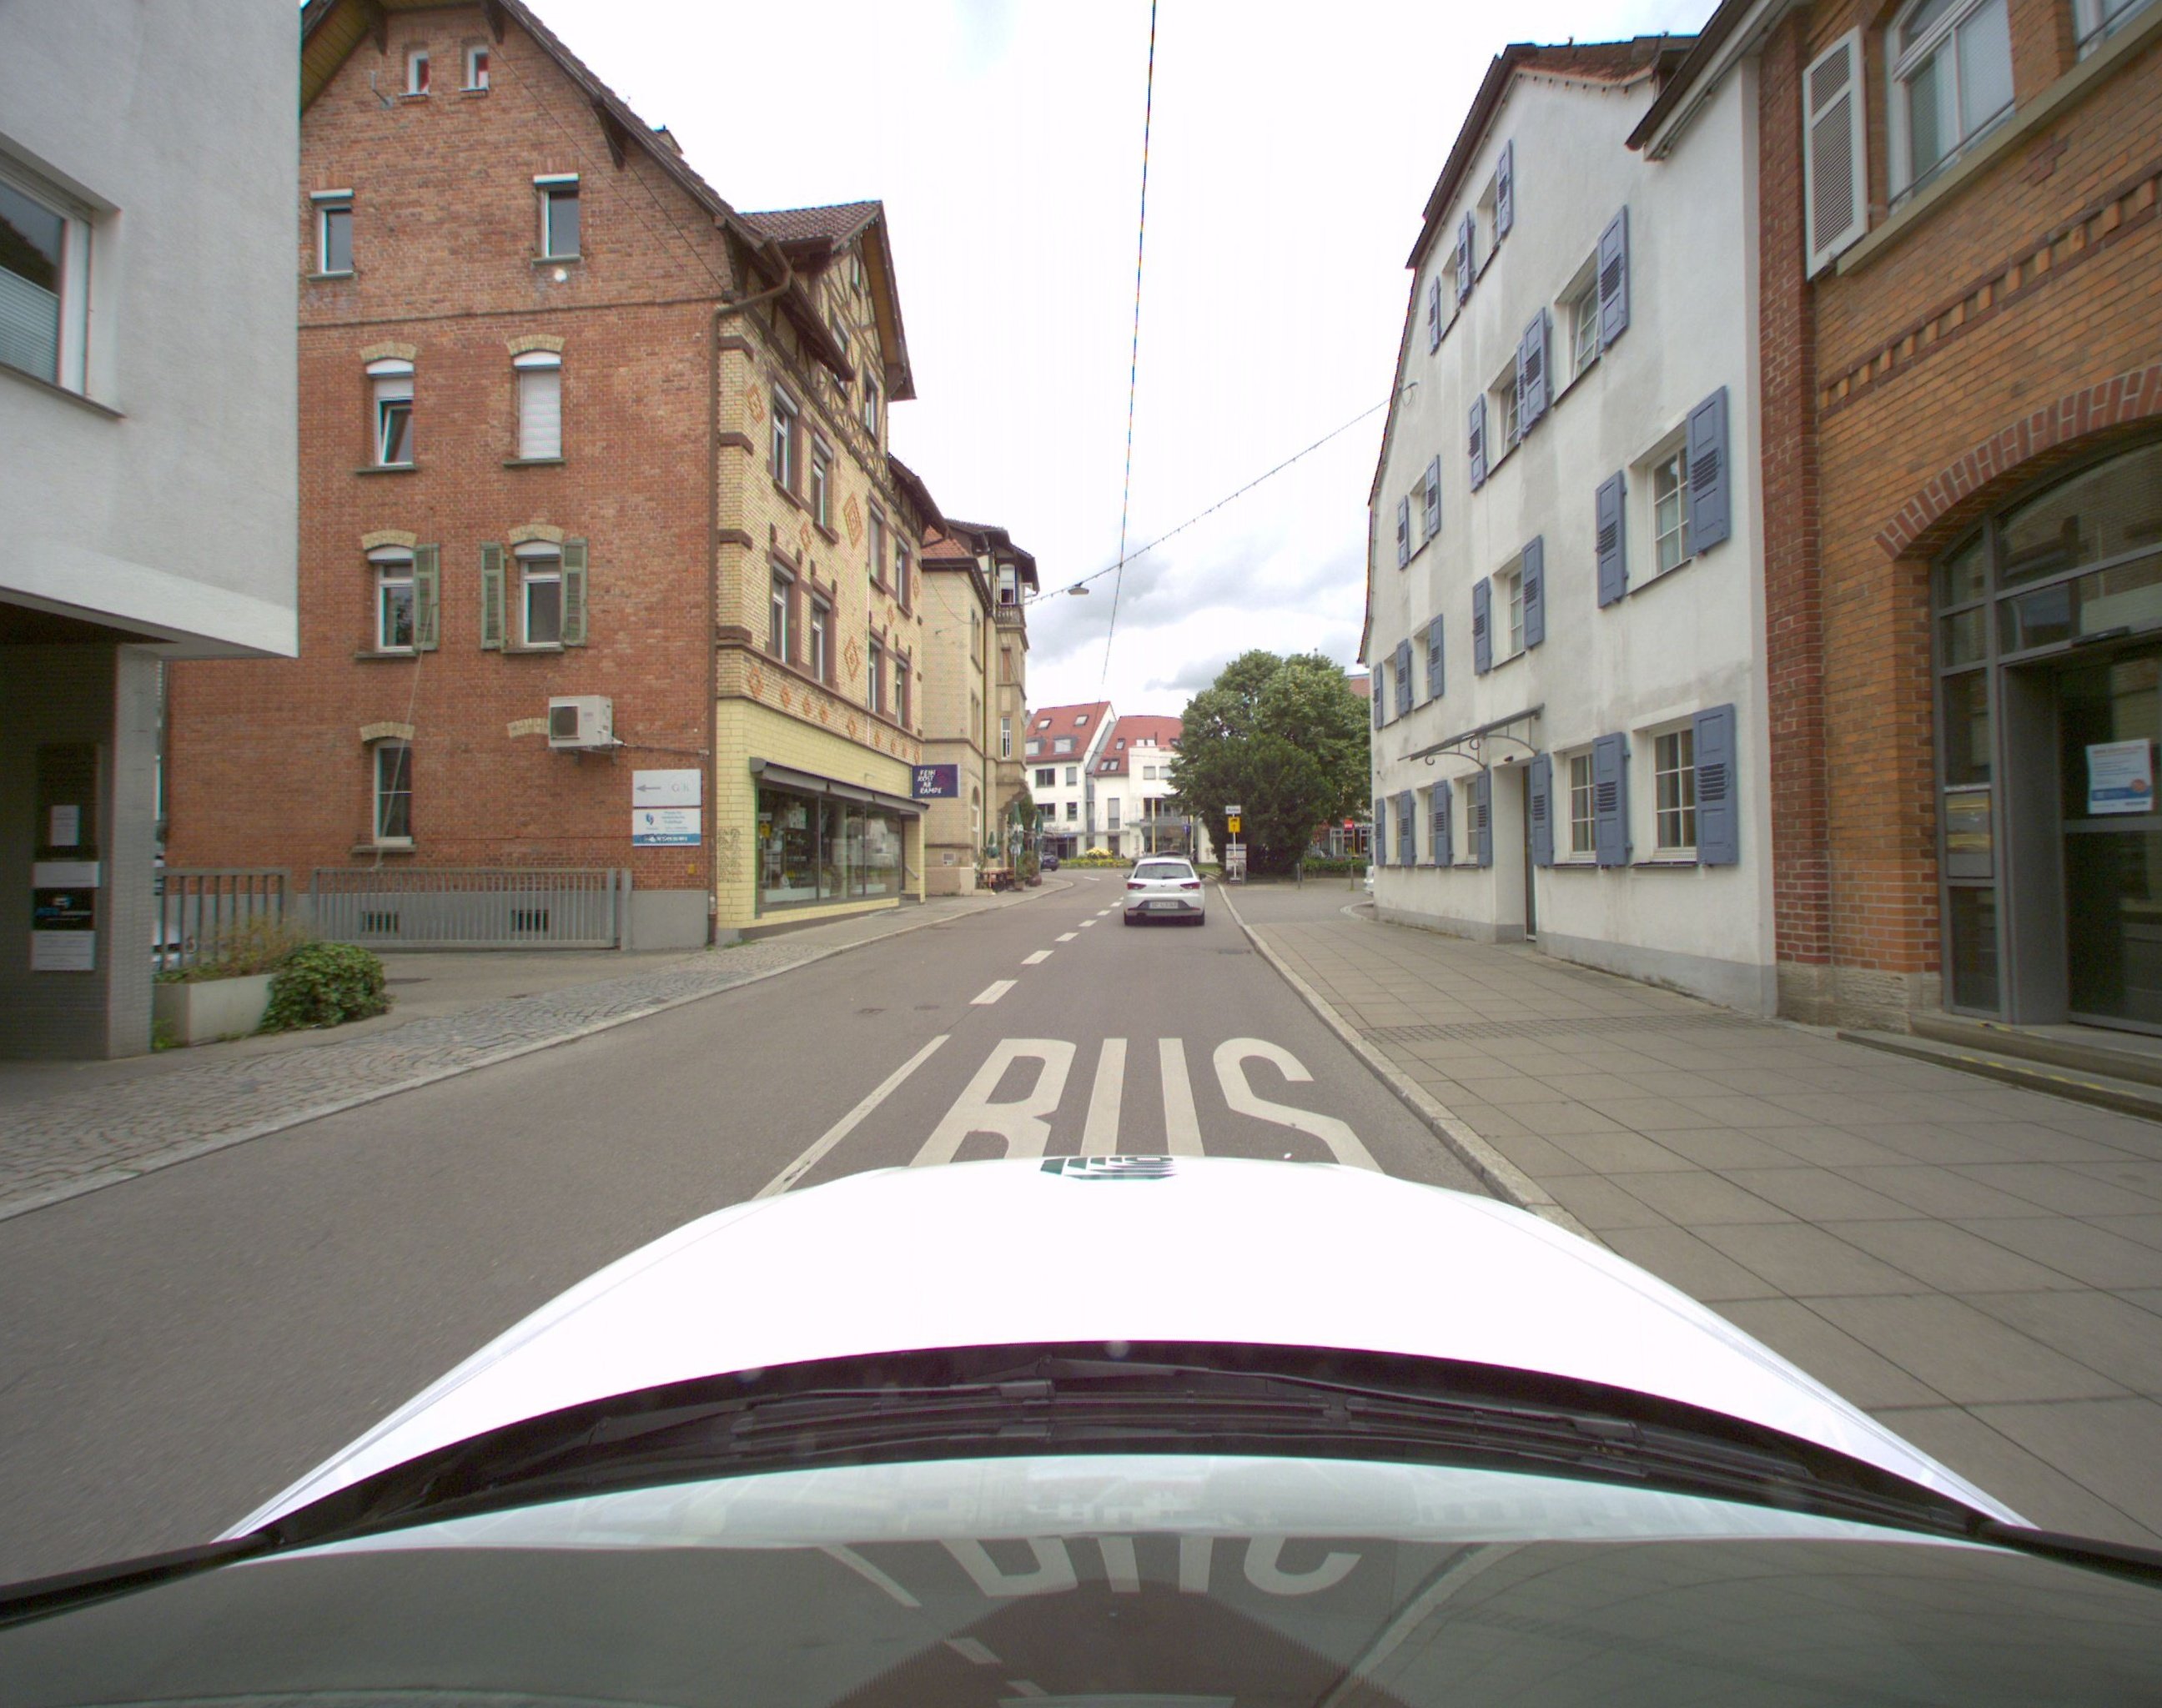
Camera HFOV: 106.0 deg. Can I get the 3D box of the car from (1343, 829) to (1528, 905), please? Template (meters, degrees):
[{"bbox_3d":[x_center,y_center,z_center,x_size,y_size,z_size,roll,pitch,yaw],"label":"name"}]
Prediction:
[{"bbox_3d":[9.084,0.324,21.157,3.970,1.838,2.002,-1,0,3],"label":"car"}]

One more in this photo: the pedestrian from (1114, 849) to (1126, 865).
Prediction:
[{"bbox_3d":[3.155,0.226,66.448,0.716,1.312,0.794,0,0,-24],"label":"pedestrian"}]

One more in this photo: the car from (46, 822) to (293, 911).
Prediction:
[{"bbox_3d":[-22.772,0.270,20.579,1.975,2.013,4.024,-1,0,43],"label":"car"}]

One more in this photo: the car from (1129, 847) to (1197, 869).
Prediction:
[{"bbox_3d":[6.083,0.272,60.745,4.885,1.557,2.250,-1,0,1],"label":"car"}]

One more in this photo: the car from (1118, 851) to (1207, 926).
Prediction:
[{"bbox_3d":[1.930,0.713,18.622,1.801,1.480,3.879,-1,1,8],"label":"car"}]

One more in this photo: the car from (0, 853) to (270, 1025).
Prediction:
[{"bbox_3d":[-11.255,0.774,8.293,3.973,1.530,2.000,-1,0,0],"label":"car"}]

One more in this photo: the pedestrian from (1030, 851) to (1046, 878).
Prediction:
[{"bbox_3d":[-2.466,0.615,46.826,0.832,1.552,0.627,-1,0,-2],"label":"pedestrian"}]

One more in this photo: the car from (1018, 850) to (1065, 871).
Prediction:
[{"bbox_3d":[-2.967,0.451,61.152,1.824,1.480,3.830,-1,1,-33],"label":"car"}]
